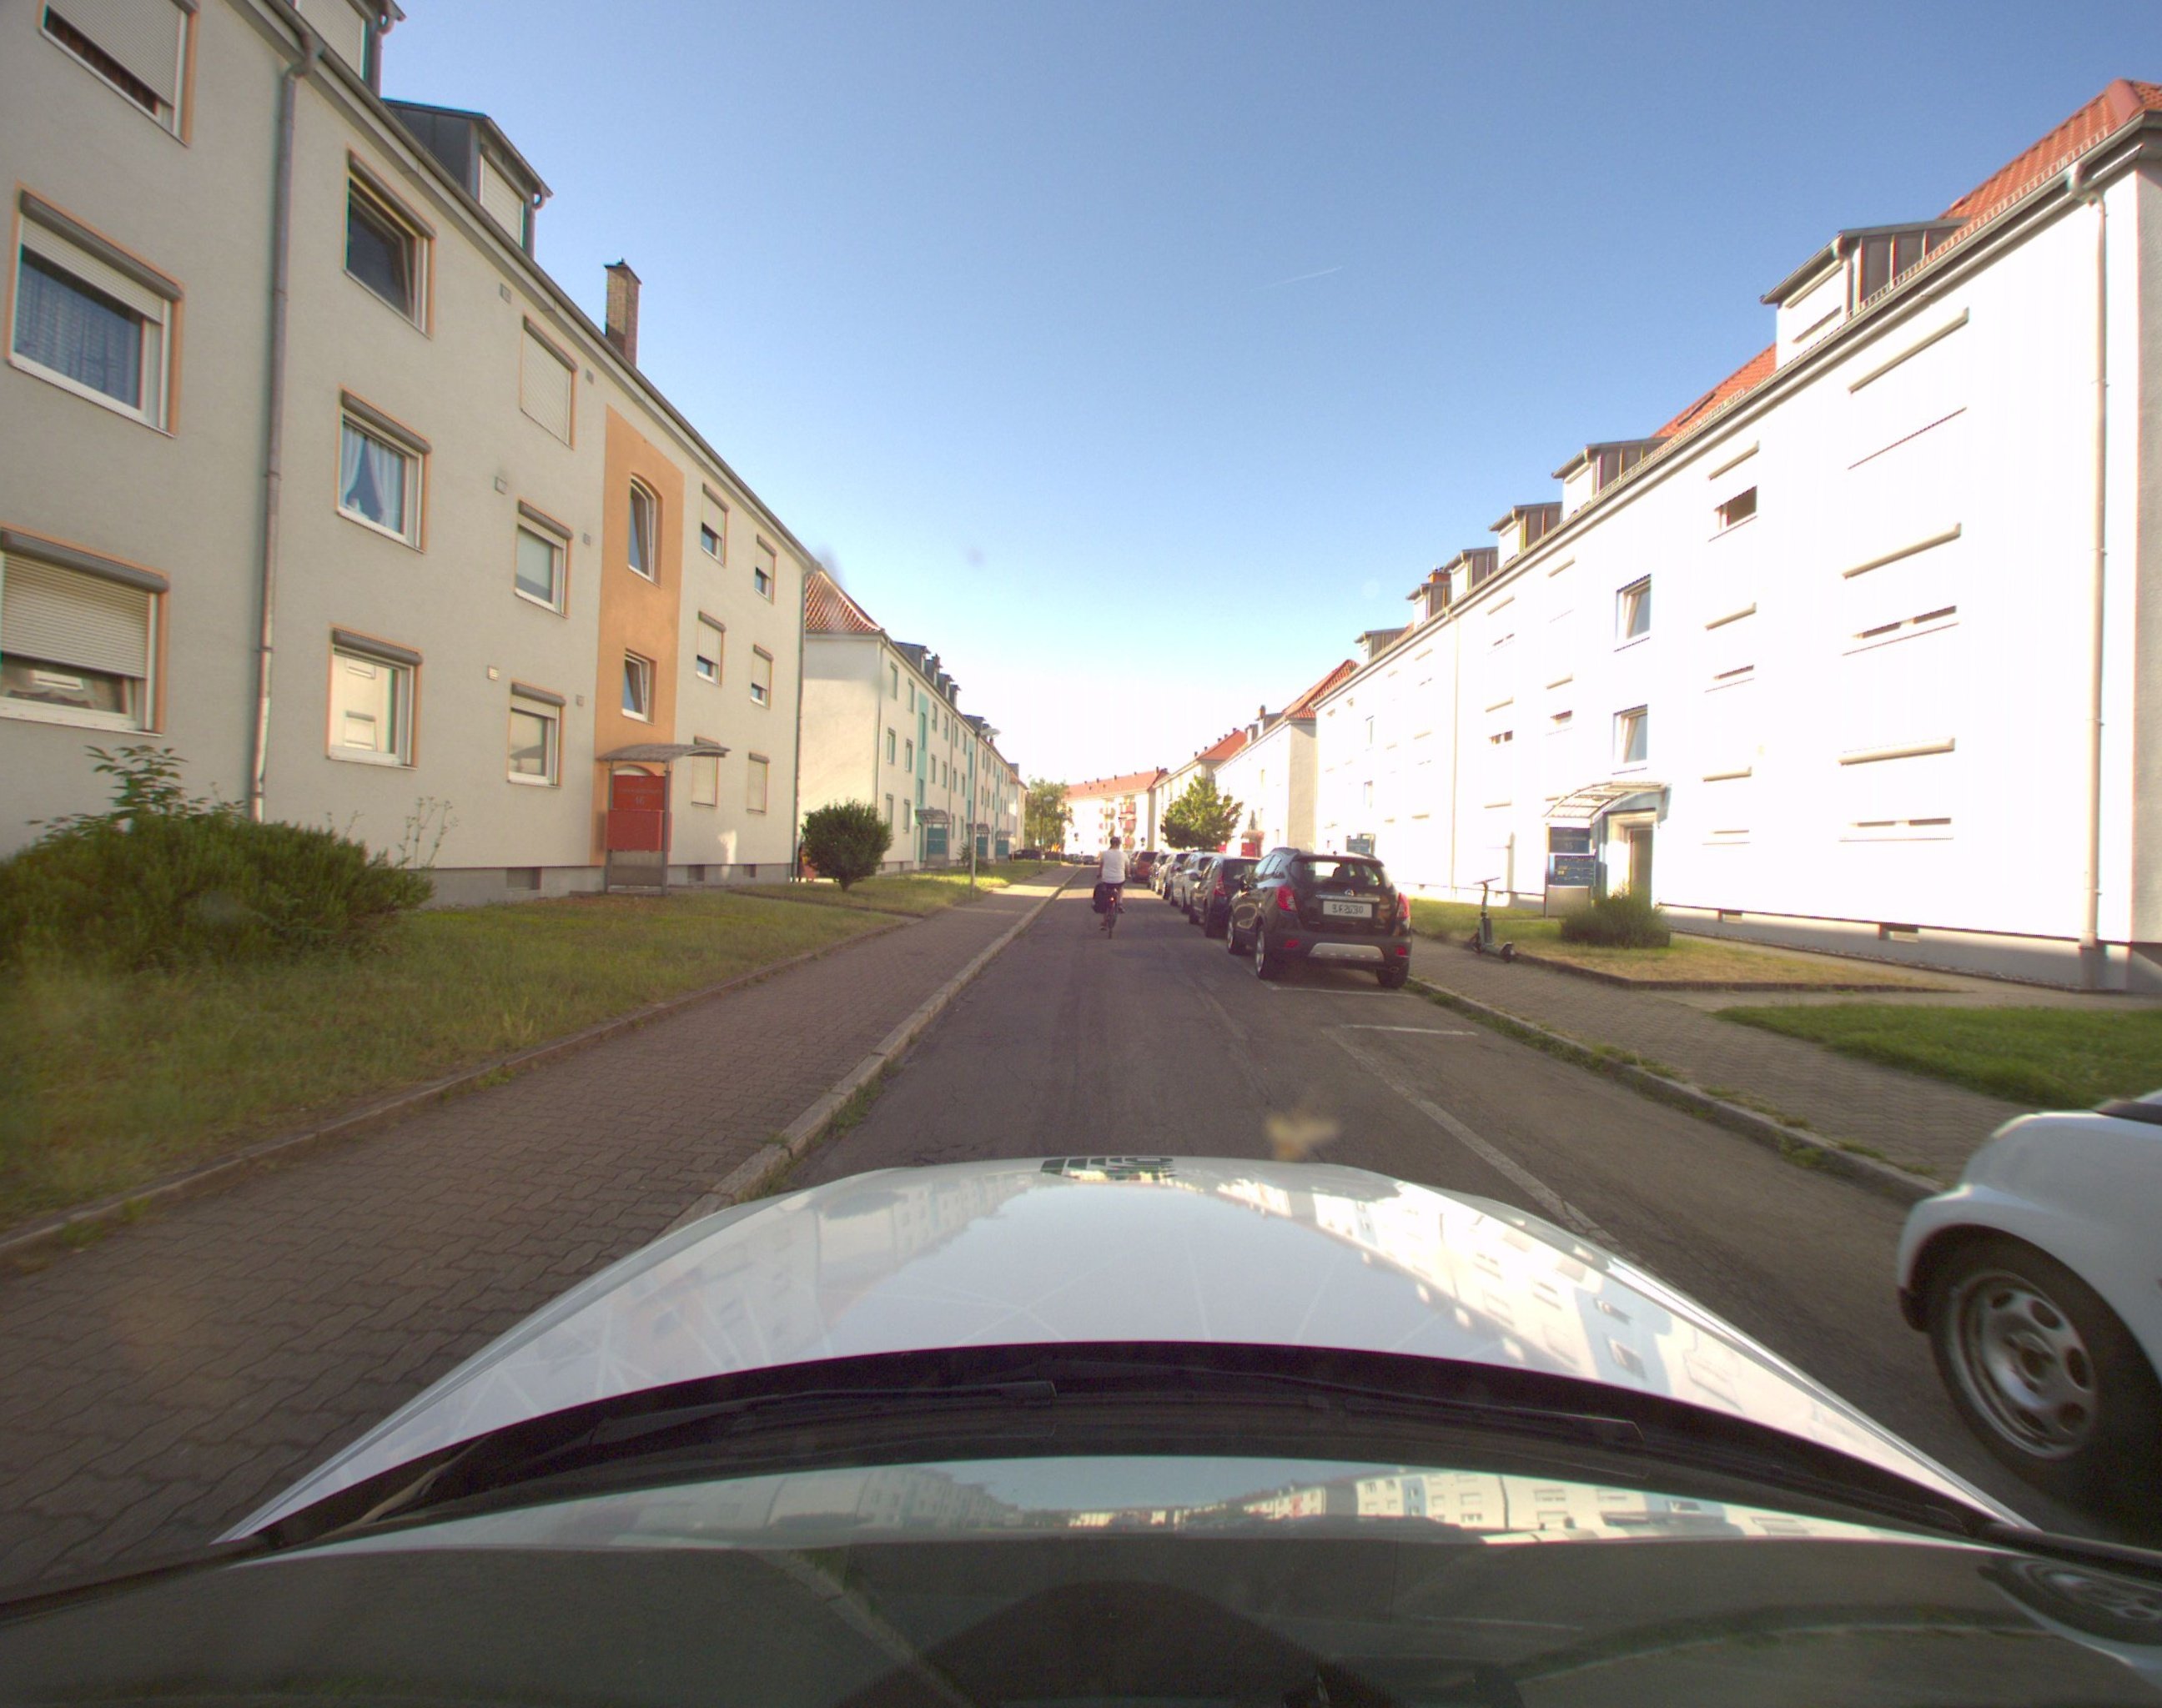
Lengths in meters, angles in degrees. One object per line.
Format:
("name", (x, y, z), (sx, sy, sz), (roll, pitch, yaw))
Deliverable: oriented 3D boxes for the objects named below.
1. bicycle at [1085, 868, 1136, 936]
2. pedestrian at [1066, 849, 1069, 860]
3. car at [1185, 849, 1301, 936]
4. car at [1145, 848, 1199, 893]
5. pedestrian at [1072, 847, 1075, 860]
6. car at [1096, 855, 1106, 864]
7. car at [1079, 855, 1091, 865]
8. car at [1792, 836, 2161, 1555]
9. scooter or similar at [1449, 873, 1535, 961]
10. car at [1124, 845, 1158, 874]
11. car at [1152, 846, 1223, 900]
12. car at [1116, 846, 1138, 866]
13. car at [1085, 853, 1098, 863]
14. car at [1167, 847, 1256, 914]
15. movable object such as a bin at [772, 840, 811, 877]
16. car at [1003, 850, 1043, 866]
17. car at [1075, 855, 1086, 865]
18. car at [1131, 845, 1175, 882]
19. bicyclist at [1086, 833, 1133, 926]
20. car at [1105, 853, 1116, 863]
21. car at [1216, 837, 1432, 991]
("bicycle", (0.513, 0.839, 15.014), (0.806, 1.128, 2.101), (0, 0, -1))
("pedestrian", (-1.758, 0.009, 104.445), (0.433, 1.427, 0.543), (0, 0, 0))
("car", (3.131, 0.668, 16.489), (1.635, 1.498, 4.159), (1, 0, 2))
("car", (3.641, 0.610, 33.275), (1.706, 1.595, 4.398), (4, 0, 1))
("pedestrian", (-0.990, -0.065, 104.447), (0.433, 1.574, 0.543), (0, 0, 1))
("car", (3.351, 0.906, 137.317), (1.465, 1.516, 3.076), (2, 0, -1))
("car", (0.547, 0.777, 112.582), (1.466, 1.335, 3.137), (-2, 0, -3))
("car", (3.027, 0.770, 1.211), (1.473, 1.529, 2.945), (3, 0, 5))
("scooter or similar", (6.034, 0.891, 12.047), (0.482, 1.149, 1.589), (-2, 0, 2))
("car", (3.761, 0.340, 51.607), (1.695, 1.671, 4.378), (3, 0, -1))
("car", (3.588, 0.579, 28.146), (1.745, 1.617, 4.450), (4, 0, -1))
("car", (4.218, 0.131, 75.113), (1.669, 1.738, 3.941), (2, 0, -1))
("car", (1.359, 0.542, 108.222), (1.466, 1.335, 3.137), (-2, 0, -3))
("car", (3.421, 0.635, 22.094), (1.685, 1.575, 4.434), (3, 0, 0))
("movable object such as a bin", (-10.894, 0.184, 30.680), (1.250, 1.356, 0.903), (1, 0, -11))
("car", (-6.356, 0.411, 89.525), (4.222, 1.638, 1.581), (1, 0, -3))
("car", (-0.135, 0.847, 119.253), (1.465, 1.335, 3.139), (-2, 0, -2))
("car", (3.547, 0.443, 41.020), (1.855, 1.668, 4.128), (3, 0, 1))
("bicyclist", (0.515, 0.457, 14.944), (0.806, 1.643, 0.898), (0, 0, -1))
("car", (4.495, 0.613, 124.661), (1.377, 1.497, 3.076), (2, 0, -1))
("car", (3.095, 0.656, 11.390), (1.776, 1.648, 4.471), (3, 0, 2))
